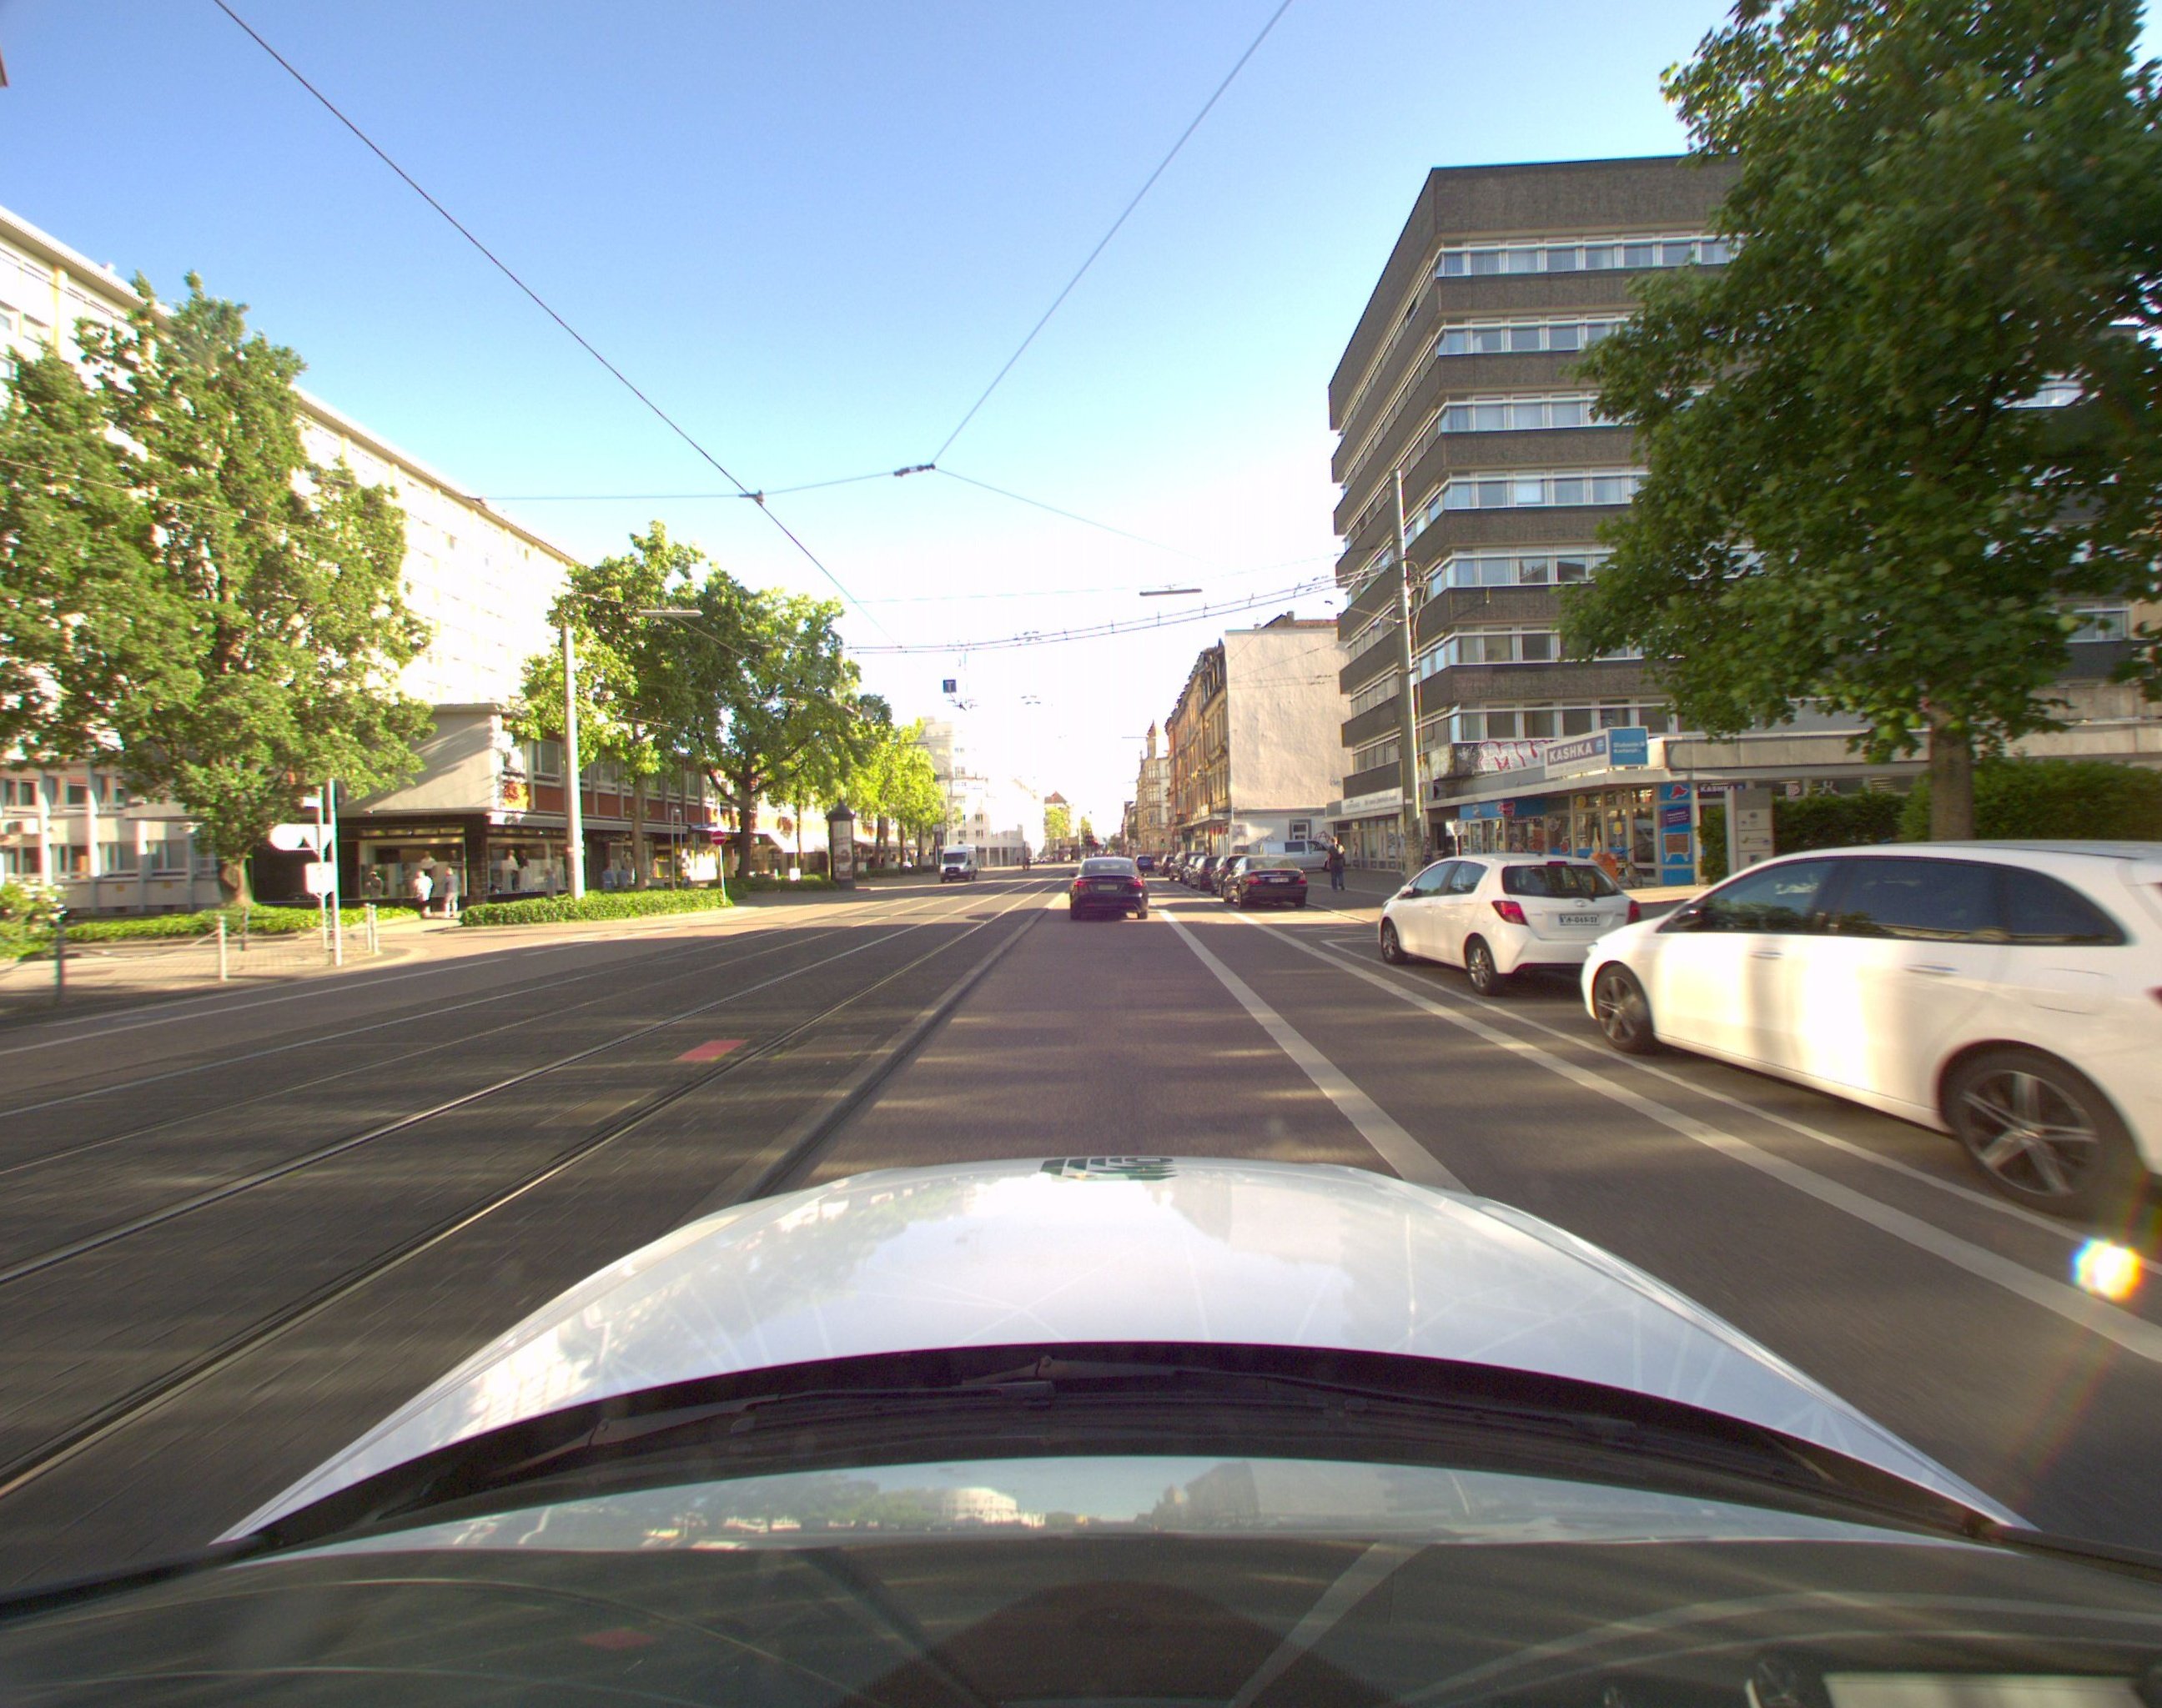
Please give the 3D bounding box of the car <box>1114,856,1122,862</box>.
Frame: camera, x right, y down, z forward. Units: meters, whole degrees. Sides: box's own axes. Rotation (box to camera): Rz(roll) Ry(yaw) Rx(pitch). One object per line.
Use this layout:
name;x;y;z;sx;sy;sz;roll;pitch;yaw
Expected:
car;10.032;1.256;220.769;1.839;1.592;4.002;-3;0;2

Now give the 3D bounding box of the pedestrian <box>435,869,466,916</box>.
pedestrian;-23.865;1.455;30.814;0.517;1.694;0.714;-3;0;25

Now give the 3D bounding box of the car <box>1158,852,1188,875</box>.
car;6.288;0.637;55.923;1.708;1.472;3.721;-2;-1;2

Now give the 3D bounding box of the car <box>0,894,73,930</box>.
car;-52.204;2.833;38.816;1.990;1.554;5.197;0;0;-4

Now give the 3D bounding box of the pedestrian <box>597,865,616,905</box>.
pedestrian;-22.548;1.449;38.694;0.590;1.872;0.537;0;0;-8

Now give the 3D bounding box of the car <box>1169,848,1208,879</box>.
car;5.936;0.558;45.340;1.822;1.628;4.097;-1;-1;2

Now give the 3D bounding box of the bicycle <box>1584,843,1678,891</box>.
bicycle;14.563;0.332;21.571;2.198;1.125;0.591;-3;0;-8

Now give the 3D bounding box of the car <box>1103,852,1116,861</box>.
car;5.176;0.412;148.161;1.989;1.525;3.996;0;-1;-2

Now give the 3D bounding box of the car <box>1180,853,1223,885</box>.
car;5.925;0.755;40.300;1.573;1.444;3.914;-1;-1;1

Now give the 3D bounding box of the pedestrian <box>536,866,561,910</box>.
pedestrian;-22.892;1.456;35.049;0.624;1.847;0.673;0;0;-1

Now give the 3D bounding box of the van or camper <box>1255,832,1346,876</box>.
van or camper;12.470;0.009;46.566;4.621;2.136;1.990;-4;-1;5

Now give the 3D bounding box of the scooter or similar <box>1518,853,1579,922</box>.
scooter or similar;8.902;0.613;15.557;0.534;1.235;1.362;-2;0;10

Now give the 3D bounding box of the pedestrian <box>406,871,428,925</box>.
pedestrian;-25.742;1.696;31.559;0.607;2.066;0.660;0;-1;-43

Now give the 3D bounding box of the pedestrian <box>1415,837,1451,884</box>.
pedestrian;13.525;0.248;31.279;1.143;1.728;1.050;-2;0;26

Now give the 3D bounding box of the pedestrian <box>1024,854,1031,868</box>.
pedestrian;-6.048;0.796;92.657;0.699;1.501;0.795;-1;-1;2

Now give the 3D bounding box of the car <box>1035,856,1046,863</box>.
car;-8.975;1.145;181.502;1.986;1.495;4.002;-2;0;2

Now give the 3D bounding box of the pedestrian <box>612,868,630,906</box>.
pedestrian;-21.945;1.551;38.852;0.545;1.802;0.587;0;0;-7

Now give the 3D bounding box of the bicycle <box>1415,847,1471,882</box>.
bicycle;13.565;0.388;30.505;2.189;1.219;0.797;-1;-1;-32

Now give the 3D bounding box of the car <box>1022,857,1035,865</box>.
car;-10.073;1.401;156.747;1.986;1.368;4.001;-2;-1;2

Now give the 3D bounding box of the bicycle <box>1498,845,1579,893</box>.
bicycle;11.632;0.382;20.744;1.673;1.140;0.579;-2;-1;5

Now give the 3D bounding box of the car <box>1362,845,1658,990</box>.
car;4.964;0.662;10.087;1.597;1.443;3.883;1;-1;-1

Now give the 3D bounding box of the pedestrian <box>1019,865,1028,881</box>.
pedestrian;-6.329;2.071;89.821;0.839;1.695;0.798;0;0;9

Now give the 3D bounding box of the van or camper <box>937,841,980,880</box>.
van or camper;-8.907;0.485;59.841;2.133;2.654;6.878;-2;-1;-1

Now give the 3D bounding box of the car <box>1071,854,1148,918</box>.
car;0.661;0.707;19.924;1.714;1.405;3.710;0;0;1

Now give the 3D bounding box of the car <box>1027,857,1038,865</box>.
car;-10.190;1.542;172.423;1.986;1.574;4.001;-2;-1;2

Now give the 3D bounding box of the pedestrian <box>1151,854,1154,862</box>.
pedestrian;12.003;0.680;136.836;0.439;1.221;0.389;-2;-1;0

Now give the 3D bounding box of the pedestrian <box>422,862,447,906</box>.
pedestrian;-26.910;1.235;33.900;0.589;1.784;0.538;0;0;1

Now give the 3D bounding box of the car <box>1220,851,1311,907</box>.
car;5.196;0.675;23.512;1.704;1.457;4.551;-1;-1;1

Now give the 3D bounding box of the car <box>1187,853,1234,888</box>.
car;5.544;0.714;35.186;1.456;1.432;3.814;-1;-1;1

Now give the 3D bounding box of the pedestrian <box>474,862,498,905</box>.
pedestrian;-24.971;1.237;34.179;0.534;1.784;0.593;0;0;2

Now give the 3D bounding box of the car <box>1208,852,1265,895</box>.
car;5.602;0.699;29.641;1.572;1.447;3.311;-1;-1;3

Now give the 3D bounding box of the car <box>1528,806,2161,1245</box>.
car;4.639;0.621;4.842;1.536;1.570;4.442;0;0;0

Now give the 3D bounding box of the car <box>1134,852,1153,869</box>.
car;5.670;0.582;73.947;1.587;1.433;3.688;-2;-1;2

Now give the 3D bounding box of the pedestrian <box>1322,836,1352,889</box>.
pedestrian;8.921;0.303;28.383;0.719;1.812;0.889;-2;-1;1

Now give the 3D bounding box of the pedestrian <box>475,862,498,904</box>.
pedestrian;-25.581;1.230;35.021;0.534;1.770;0.593;0;0;2

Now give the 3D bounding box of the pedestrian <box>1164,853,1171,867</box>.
pedestrian;10.087;0.752;95.189;0.746;1.617;0.705;-2;-1;-1
